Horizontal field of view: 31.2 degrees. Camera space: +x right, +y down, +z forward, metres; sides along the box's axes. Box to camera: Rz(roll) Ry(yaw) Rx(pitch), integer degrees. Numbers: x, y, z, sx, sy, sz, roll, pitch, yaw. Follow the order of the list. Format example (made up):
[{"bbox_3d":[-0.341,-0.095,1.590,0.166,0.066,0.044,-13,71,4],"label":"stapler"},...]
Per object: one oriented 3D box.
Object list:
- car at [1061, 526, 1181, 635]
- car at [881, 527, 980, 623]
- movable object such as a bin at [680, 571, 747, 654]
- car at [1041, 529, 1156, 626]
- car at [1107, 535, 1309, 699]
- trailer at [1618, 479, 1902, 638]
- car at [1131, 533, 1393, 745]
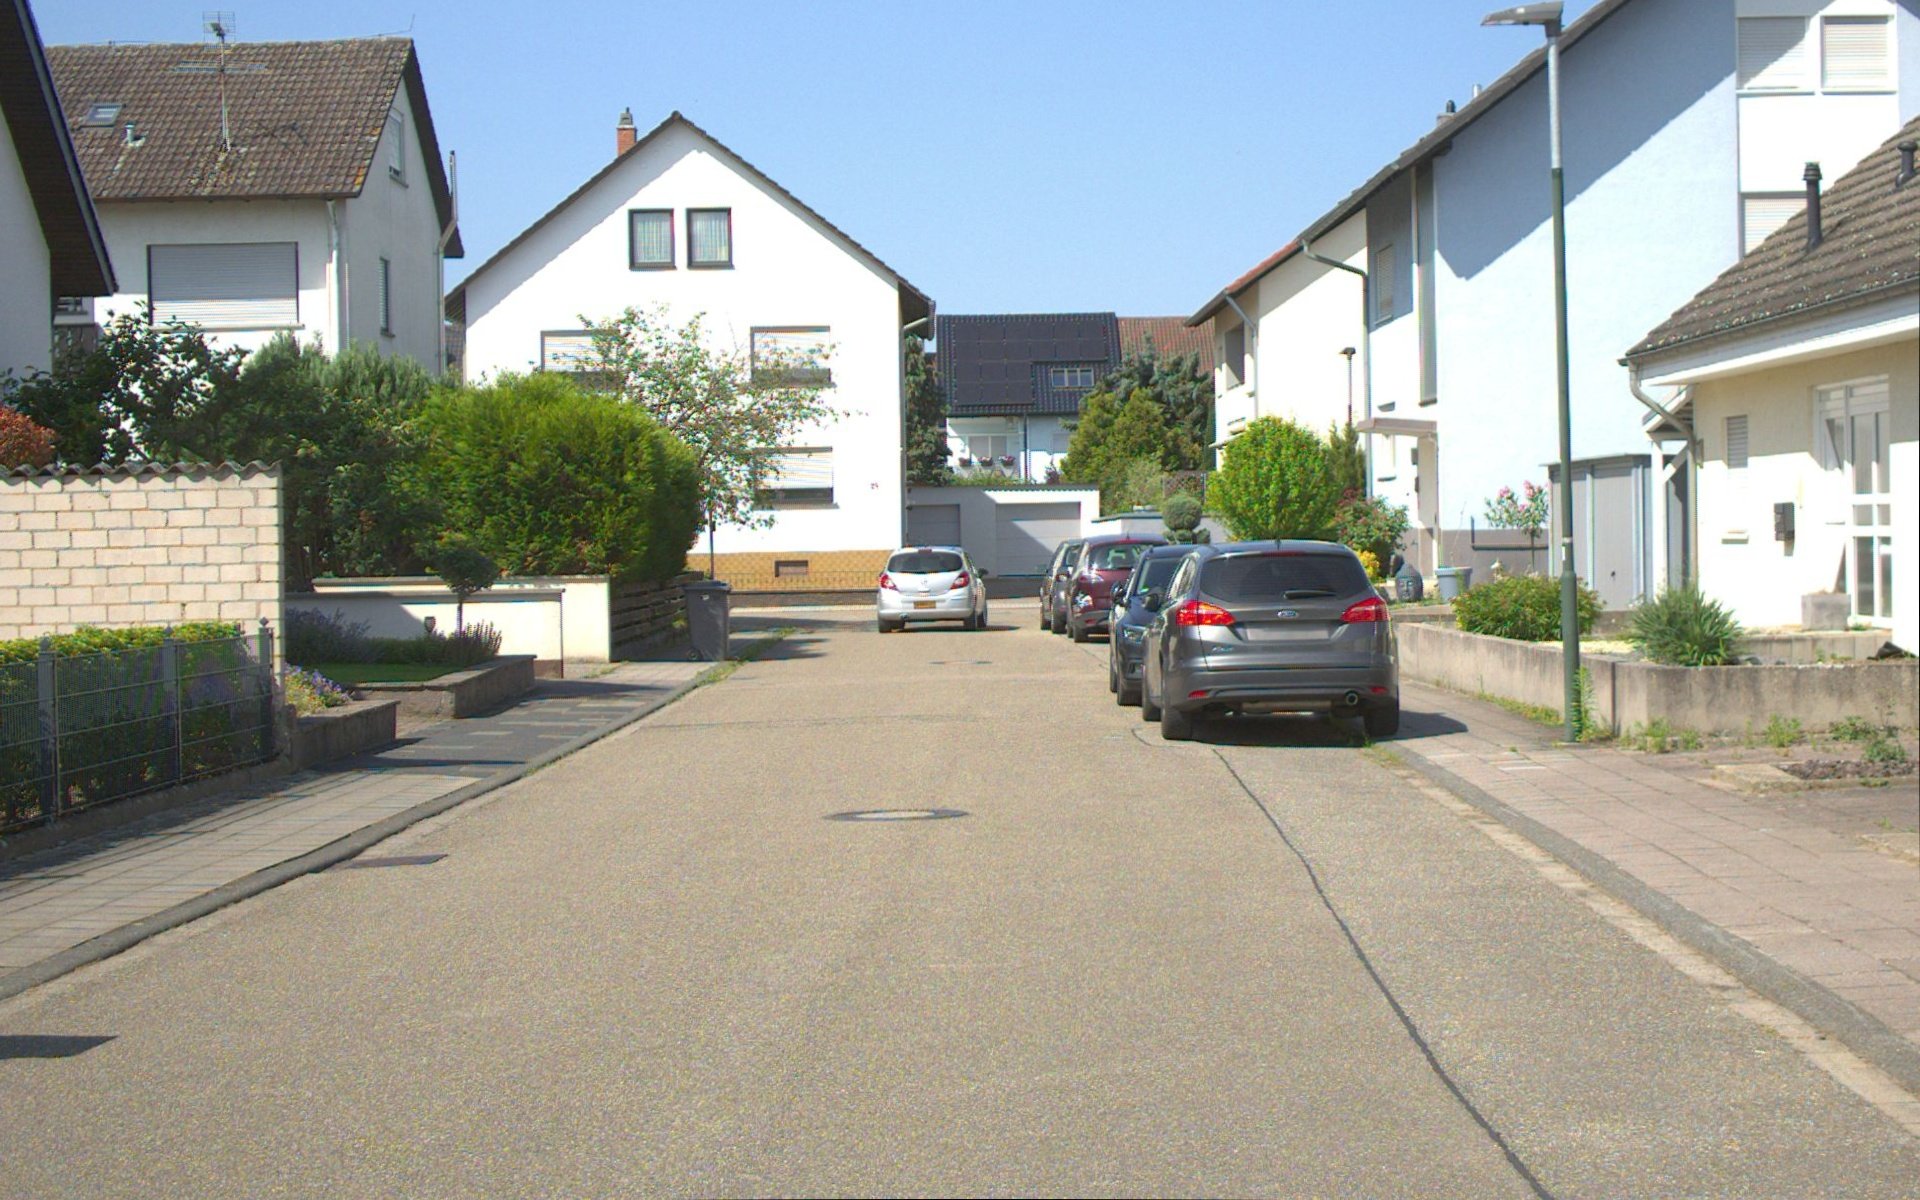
[{"bbox_3d":[2.470,-0.338,53.441,1.645,1.576,4.147,-1,1,0],"label":"car"},{"bbox_3d":[-0.489,-0.467,60.111,1.645,1.576,3.809,-1,1,0],"label":"car"},{"bbox_3d":[-3.283,0.166,45.832,0.818,1.060,0.611,-2,1,0],"label":"movable object such as a bin"},{"bbox_3d":[2.318,-0.408,58.429,1.645,1.540,4.048,-2,1,-2],"label":"car"},{"bbox_3d":[2.312,0.111,32.975,1.717,1.433,4.503,-1,1,2],"label":"car"},{"bbox_3d":[8.939,-0.474,38.550,2.834,1.684,1.402,-1,1,1],"label":"trailer"},{"bbox_3d":[2.285,0.245,26.917,1.642,1.473,4.001,0,2,-1],"label":"car"}]
